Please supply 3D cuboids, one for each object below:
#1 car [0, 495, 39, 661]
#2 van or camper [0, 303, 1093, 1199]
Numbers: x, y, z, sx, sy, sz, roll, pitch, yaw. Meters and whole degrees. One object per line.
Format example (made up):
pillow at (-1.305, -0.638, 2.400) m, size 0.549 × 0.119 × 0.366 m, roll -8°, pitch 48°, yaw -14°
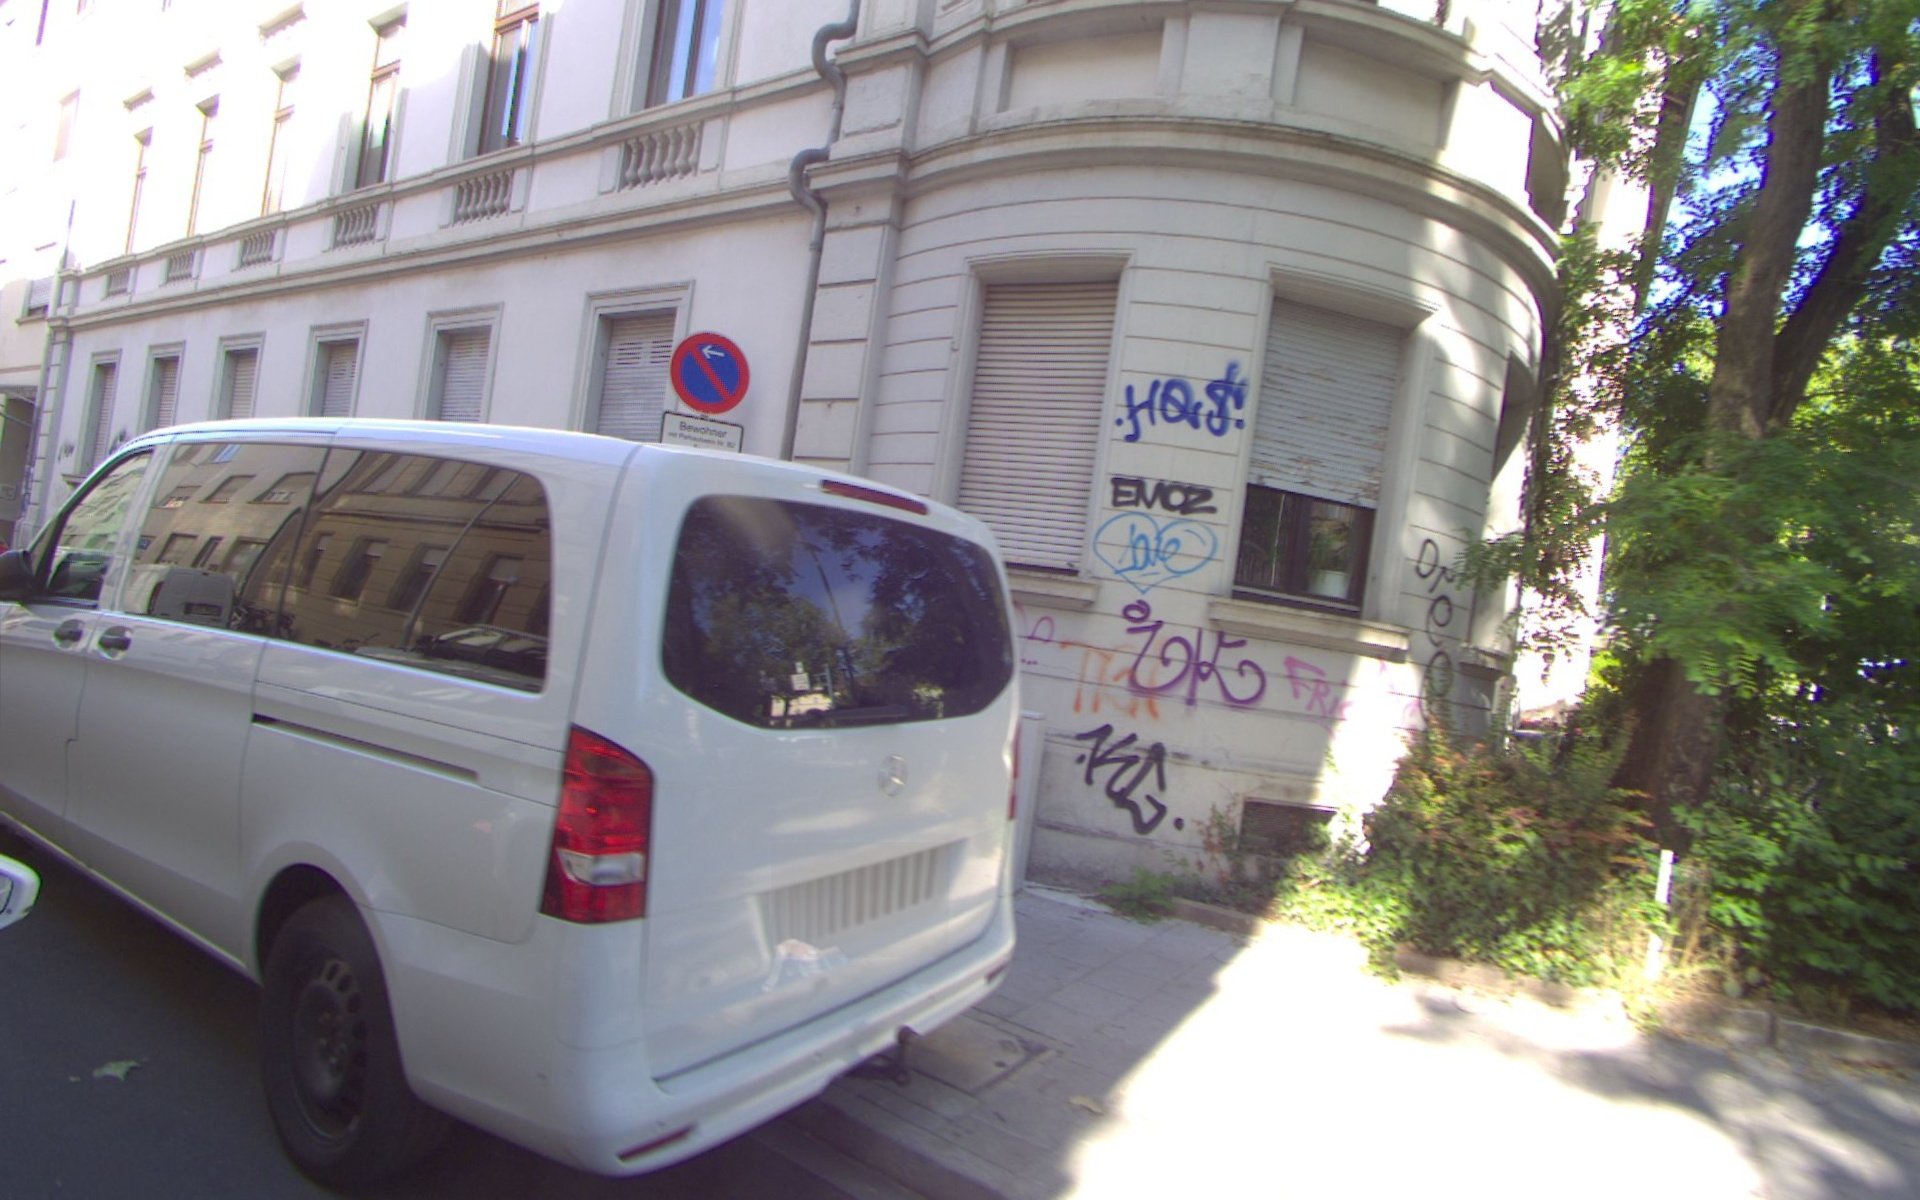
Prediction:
car at (-11.326, -0.560, 10.189) m, size 4.652 × 1.535 × 1.819 m, roll 8°, pitch -3°, yaw 35°
van or camper at (-2.240, 0.301, 3.981) m, size 4.949 × 2.037 × 1.897 m, roll 8°, pitch -1°, yaw 33°
